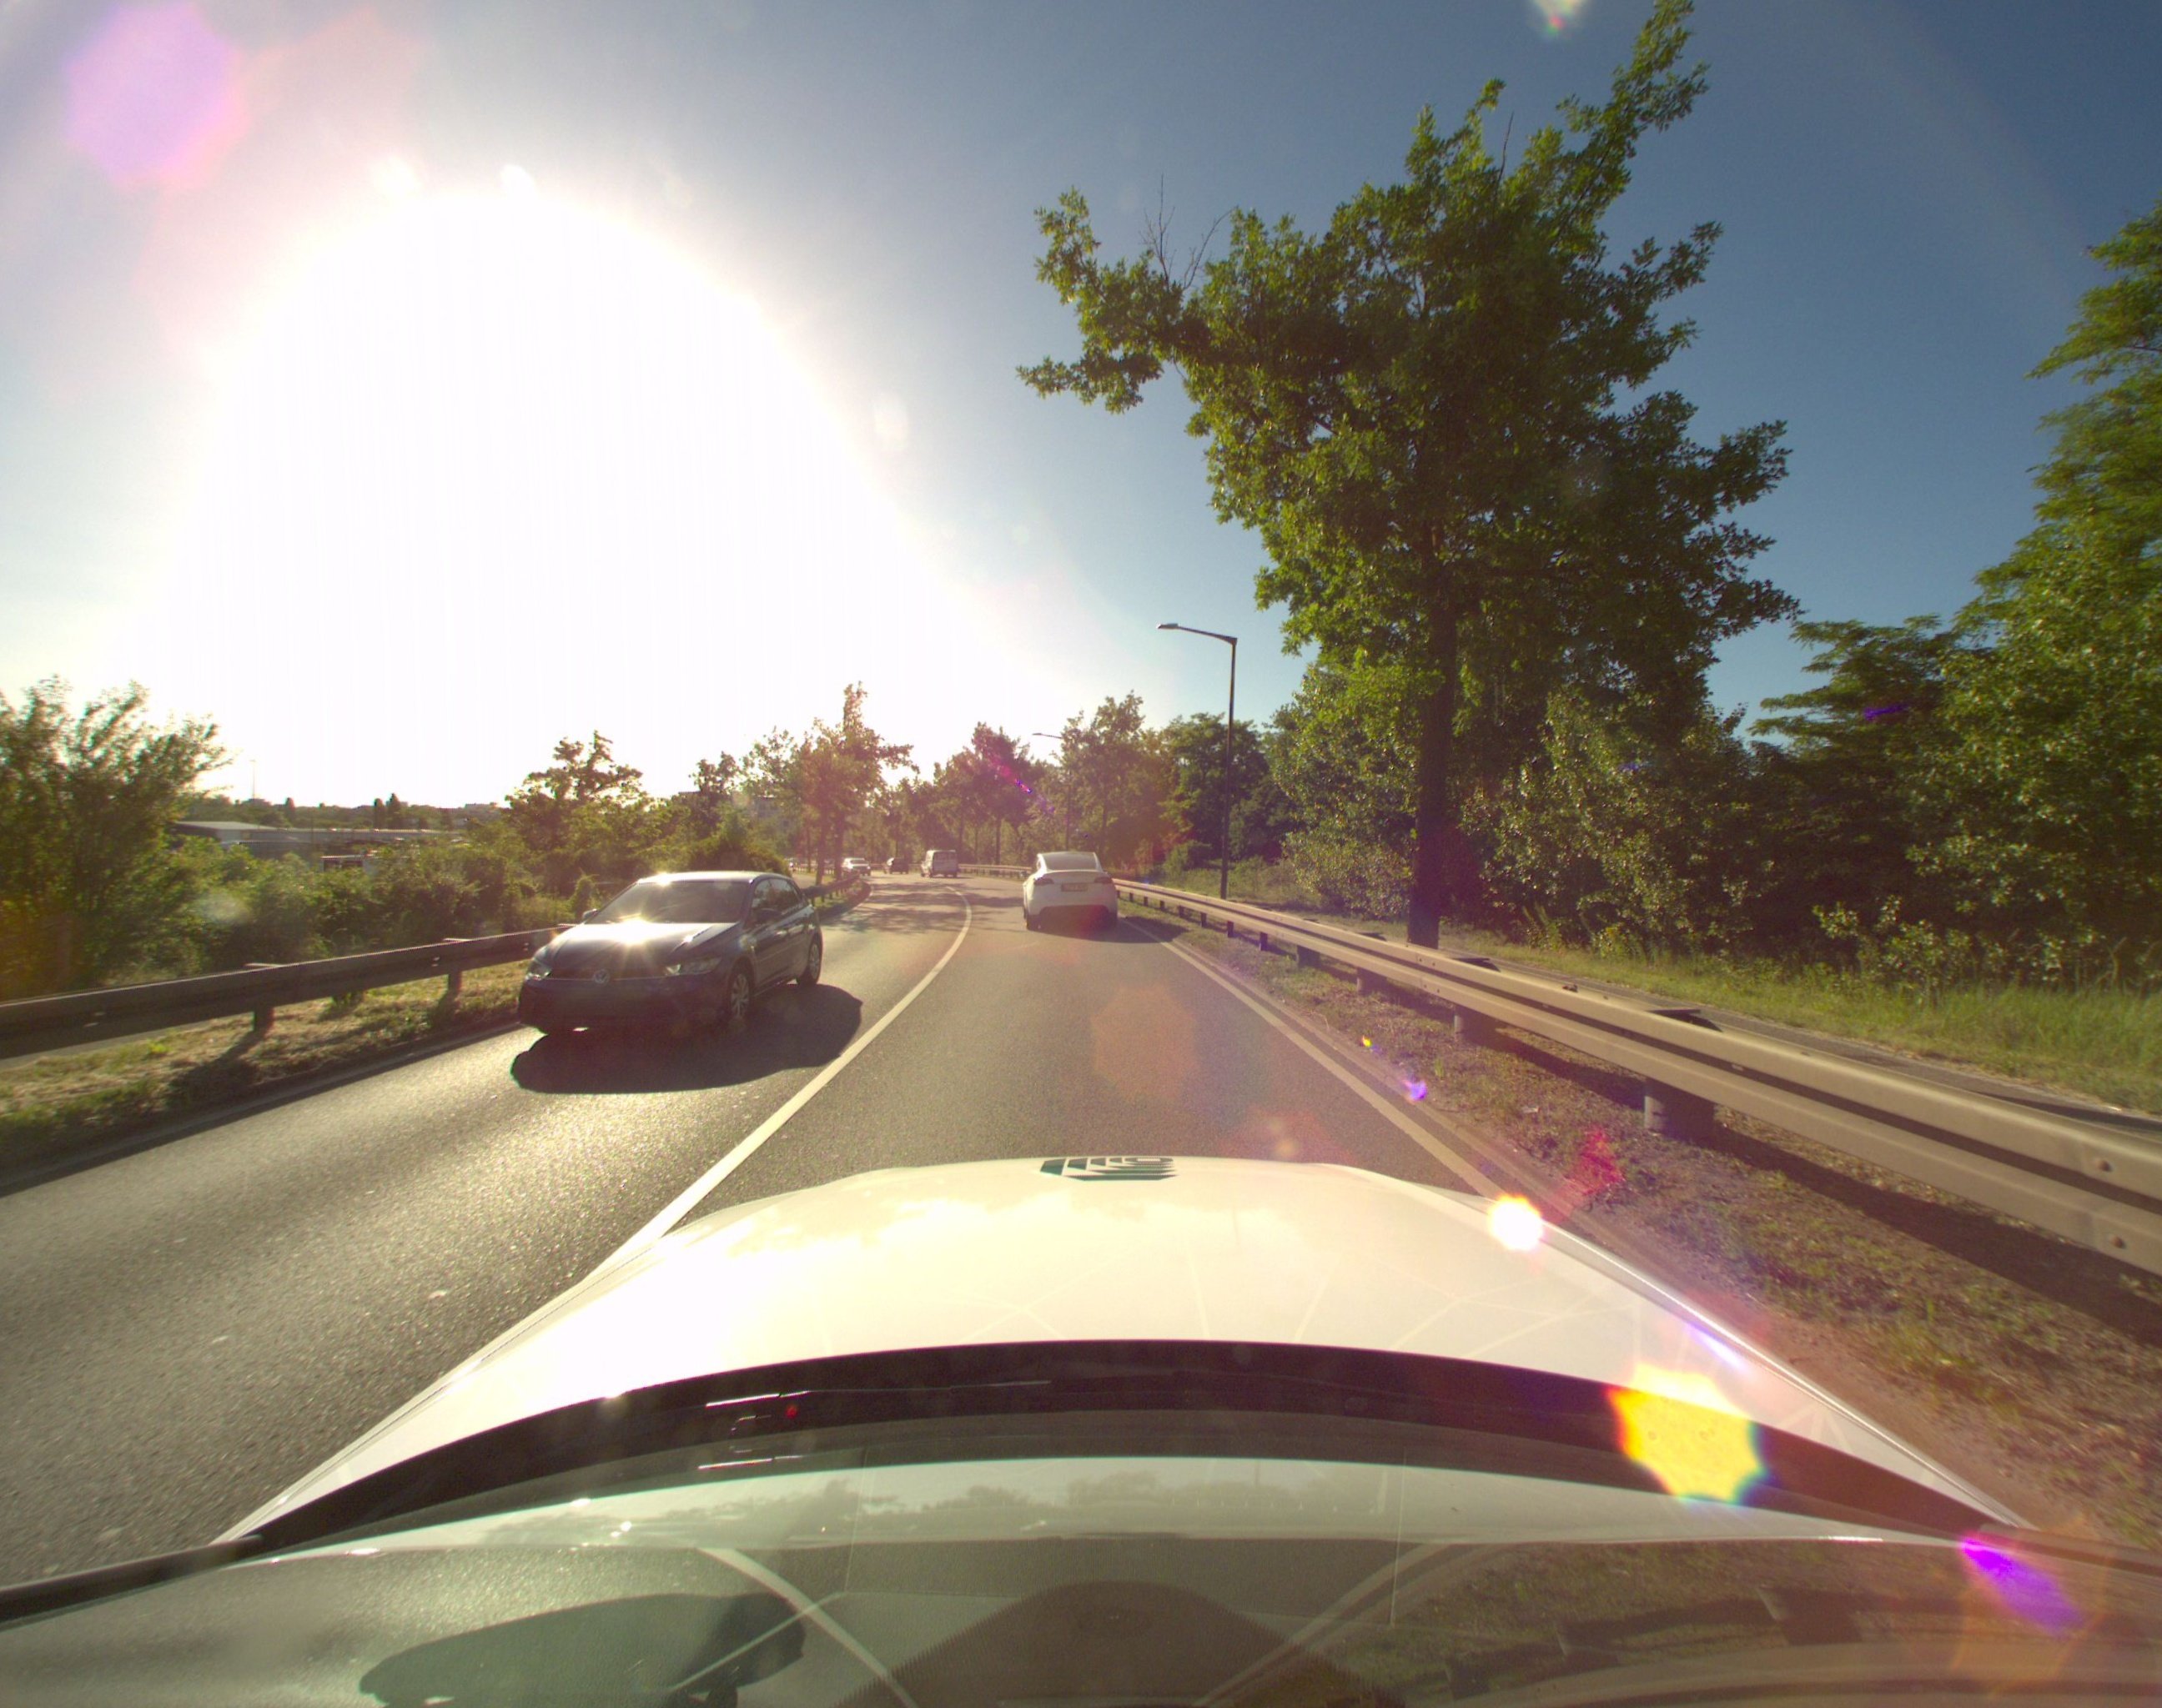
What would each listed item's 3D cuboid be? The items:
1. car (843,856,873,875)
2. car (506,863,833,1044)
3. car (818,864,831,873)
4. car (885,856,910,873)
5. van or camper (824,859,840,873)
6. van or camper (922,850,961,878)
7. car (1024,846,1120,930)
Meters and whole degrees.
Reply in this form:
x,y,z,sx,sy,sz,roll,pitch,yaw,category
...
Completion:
x,y,z,sx,sy,sz,roll,pitch,yaw,category
-18.556,0.968,67.563,1.704,1.518,3.946,0,-1,-26,car
-3.986,0.829,8.700,1.675,1.451,3.994,0,-1,-4,car
-43.965,2.465,139.376,1.816,1.554,4.110,0,-1,-22,car
-16.383,0.938,72.644,1.610,1.435,3.652,2,-3,-21,car
-34.892,1.683,114.302,1.828,1.791,4.524,3,0,-14,van or camper
-9.824,0.698,57.070,1.964,1.884,4.849,0,-1,-18,van or camper
-0.323,0.693,18.455,1.910,1.641,4.403,0,-1,-4,car
